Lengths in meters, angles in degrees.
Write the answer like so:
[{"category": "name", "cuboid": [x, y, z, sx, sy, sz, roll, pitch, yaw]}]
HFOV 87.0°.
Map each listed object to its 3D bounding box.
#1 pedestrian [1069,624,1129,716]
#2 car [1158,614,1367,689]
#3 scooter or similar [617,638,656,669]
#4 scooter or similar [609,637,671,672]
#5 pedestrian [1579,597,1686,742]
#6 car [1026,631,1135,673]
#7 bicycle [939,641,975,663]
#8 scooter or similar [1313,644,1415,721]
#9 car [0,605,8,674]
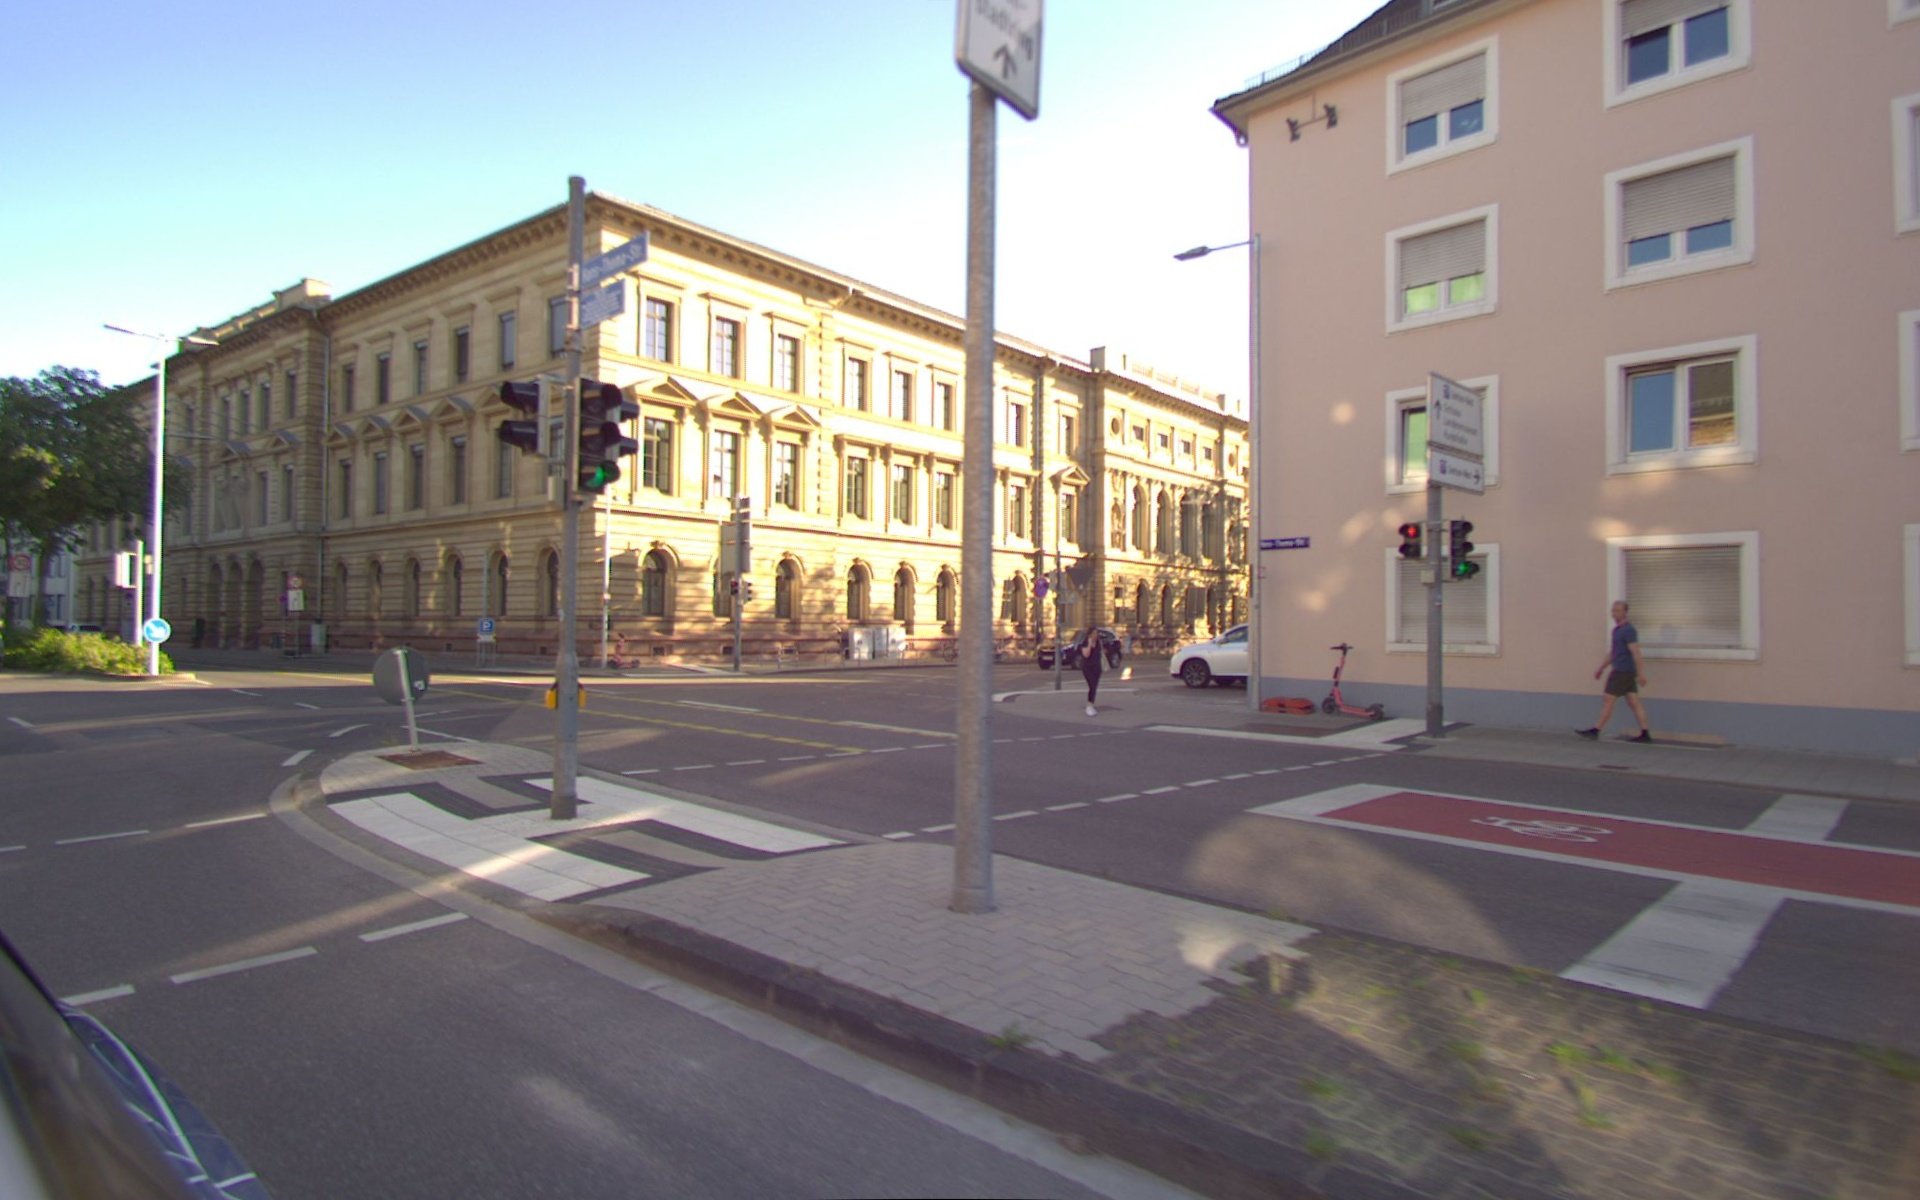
[{"category": "pedestrian", "cuboid": [2.502, 1.238, 18.238, 0.818, 1.595, 0.624, -1, 0, 45]}, {"category": "car", "cuboid": [7.480, 1.246, 25.267, 4.610, 1.699, 1.973, -1, -3, 40]}, {"category": "scooter or similar", "cuboid": [-11.503, 1.889, 35.983, 0.393, 1.060, 1.313, -2, -3, 41]}, {"category": "scooter or similar", "cuboid": [-11.124, 1.892, 35.160, 1.998, 1.197, 0.457, 1, -2, -24]}, {"category": "pedestrian", "cuboid": [9.182, 0.912, 13.828, 0.857, 1.877, 1.016, -1, -1, -44]}, {"category": "car", "cuboid": [4.901, 2.059, 40.750, 2.000, 1.584, 4.621, -2, -3, 43]}, {"category": "bicycle", "cuboid": [-0.122, 2.370, 46.080, 0.575, 0.974, 1.804, -1, -2, 43]}, {"category": "scooter or similar", "cuboid": [6.698, 1.349, 16.814, 0.527, 1.194, 1.475, 1, -2, -43]}, {"category": "car", "cuboid": [-29.554, 1.087, 29.258, 5.024, 1.930, 2.049, 0, -2, 36]}]
